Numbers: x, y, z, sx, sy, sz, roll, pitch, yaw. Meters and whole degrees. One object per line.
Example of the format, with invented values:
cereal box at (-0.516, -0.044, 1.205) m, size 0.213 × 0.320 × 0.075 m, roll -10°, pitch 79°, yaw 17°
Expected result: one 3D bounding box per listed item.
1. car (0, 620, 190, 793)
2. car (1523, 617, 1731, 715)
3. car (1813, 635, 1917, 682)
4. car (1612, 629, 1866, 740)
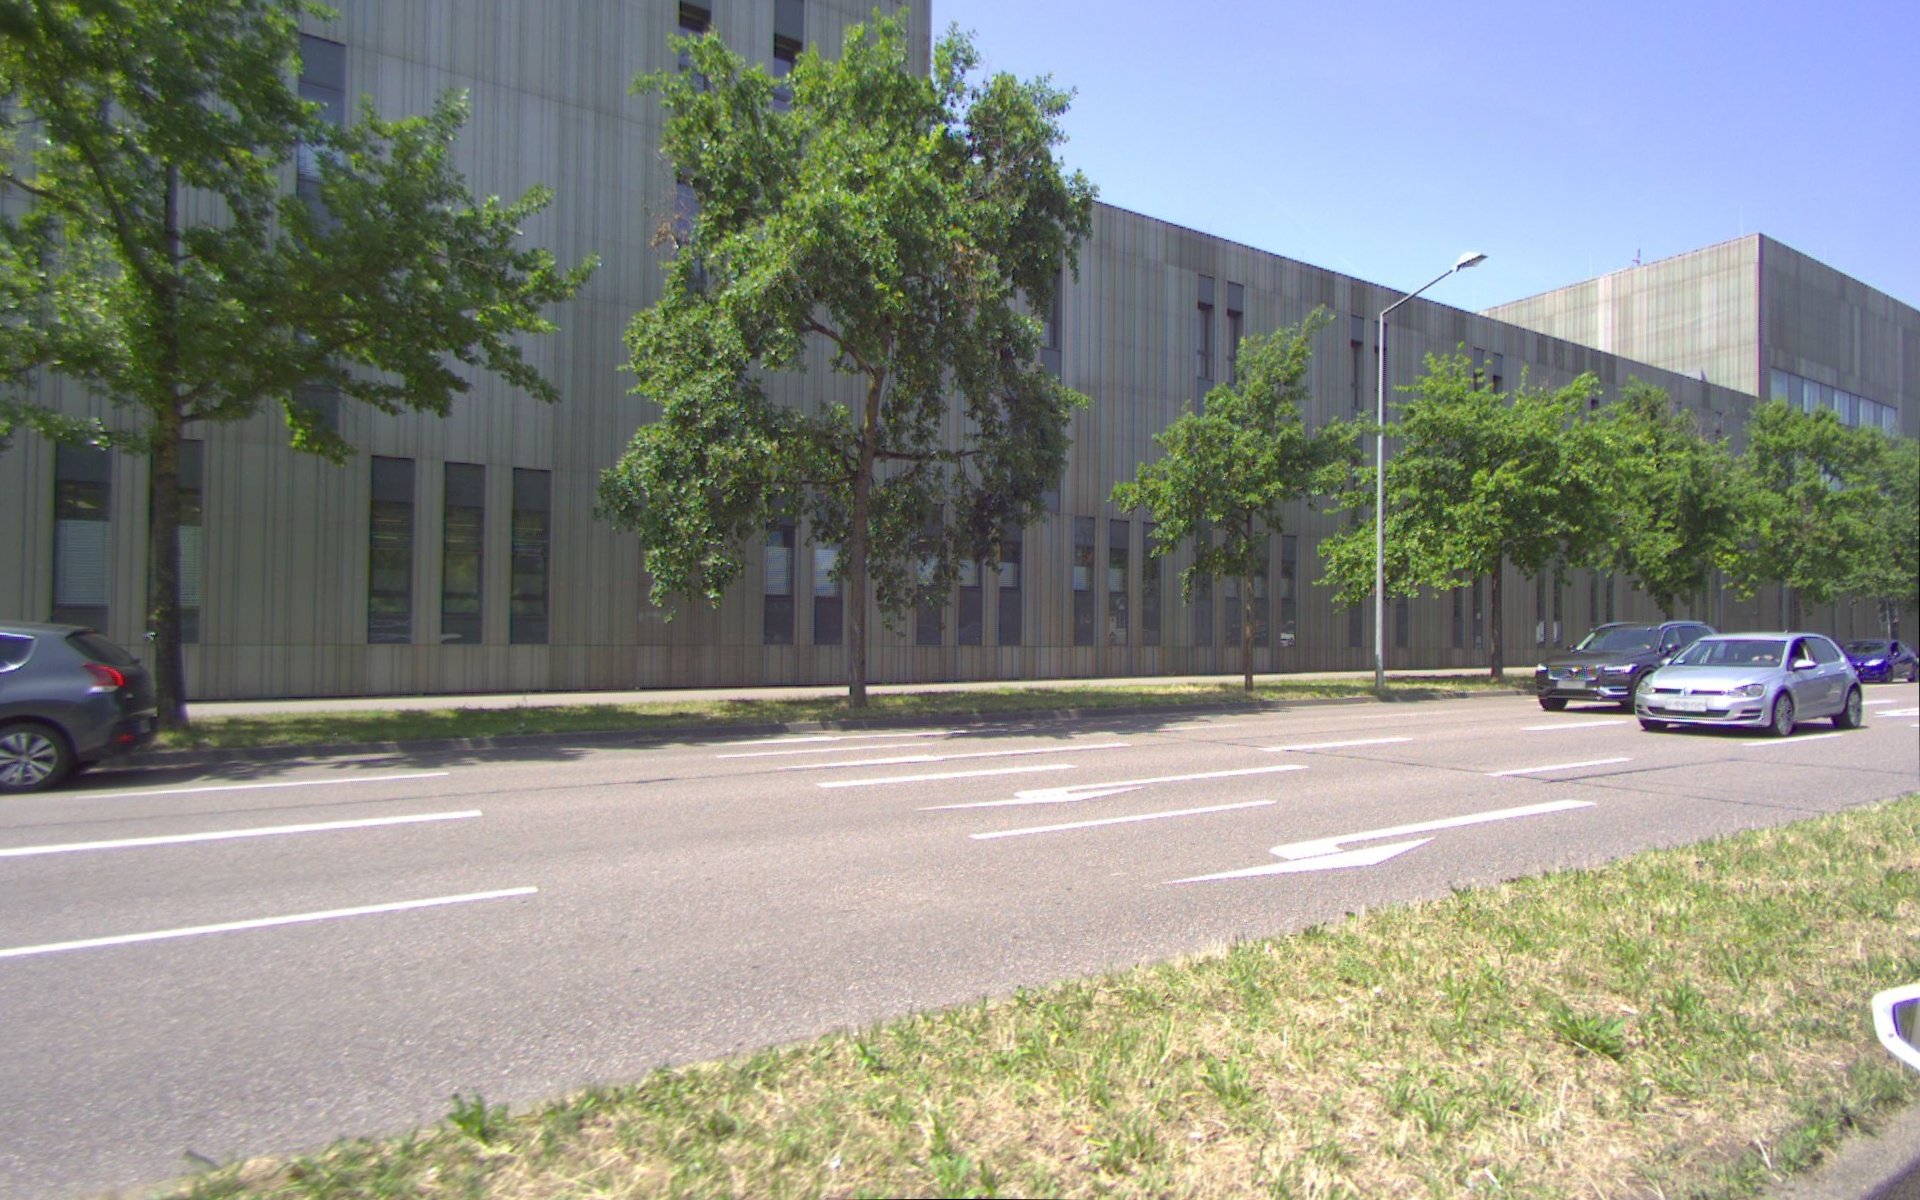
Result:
car at (-10.032, 0.976, 9.351) m, size 4.320 × 1.563 × 1.801 m, roll 1°, pitch -2°, yaw -32°
car at (13.494, 1.282, 20.262) m, size 4.596 × 1.769 × 1.800 m, roll 2°, pitch -3°, yaw -33°
car at (30.281, 1.906, 33.583) m, size 3.974 × 1.475 × 1.611 m, roll 1°, pitch -2°, yaw -33°
car at (11.928, 1.210, 15.332) m, size 4.099 × 1.479 × 1.756 m, roll 2°, pitch -3°, yaw -32°
